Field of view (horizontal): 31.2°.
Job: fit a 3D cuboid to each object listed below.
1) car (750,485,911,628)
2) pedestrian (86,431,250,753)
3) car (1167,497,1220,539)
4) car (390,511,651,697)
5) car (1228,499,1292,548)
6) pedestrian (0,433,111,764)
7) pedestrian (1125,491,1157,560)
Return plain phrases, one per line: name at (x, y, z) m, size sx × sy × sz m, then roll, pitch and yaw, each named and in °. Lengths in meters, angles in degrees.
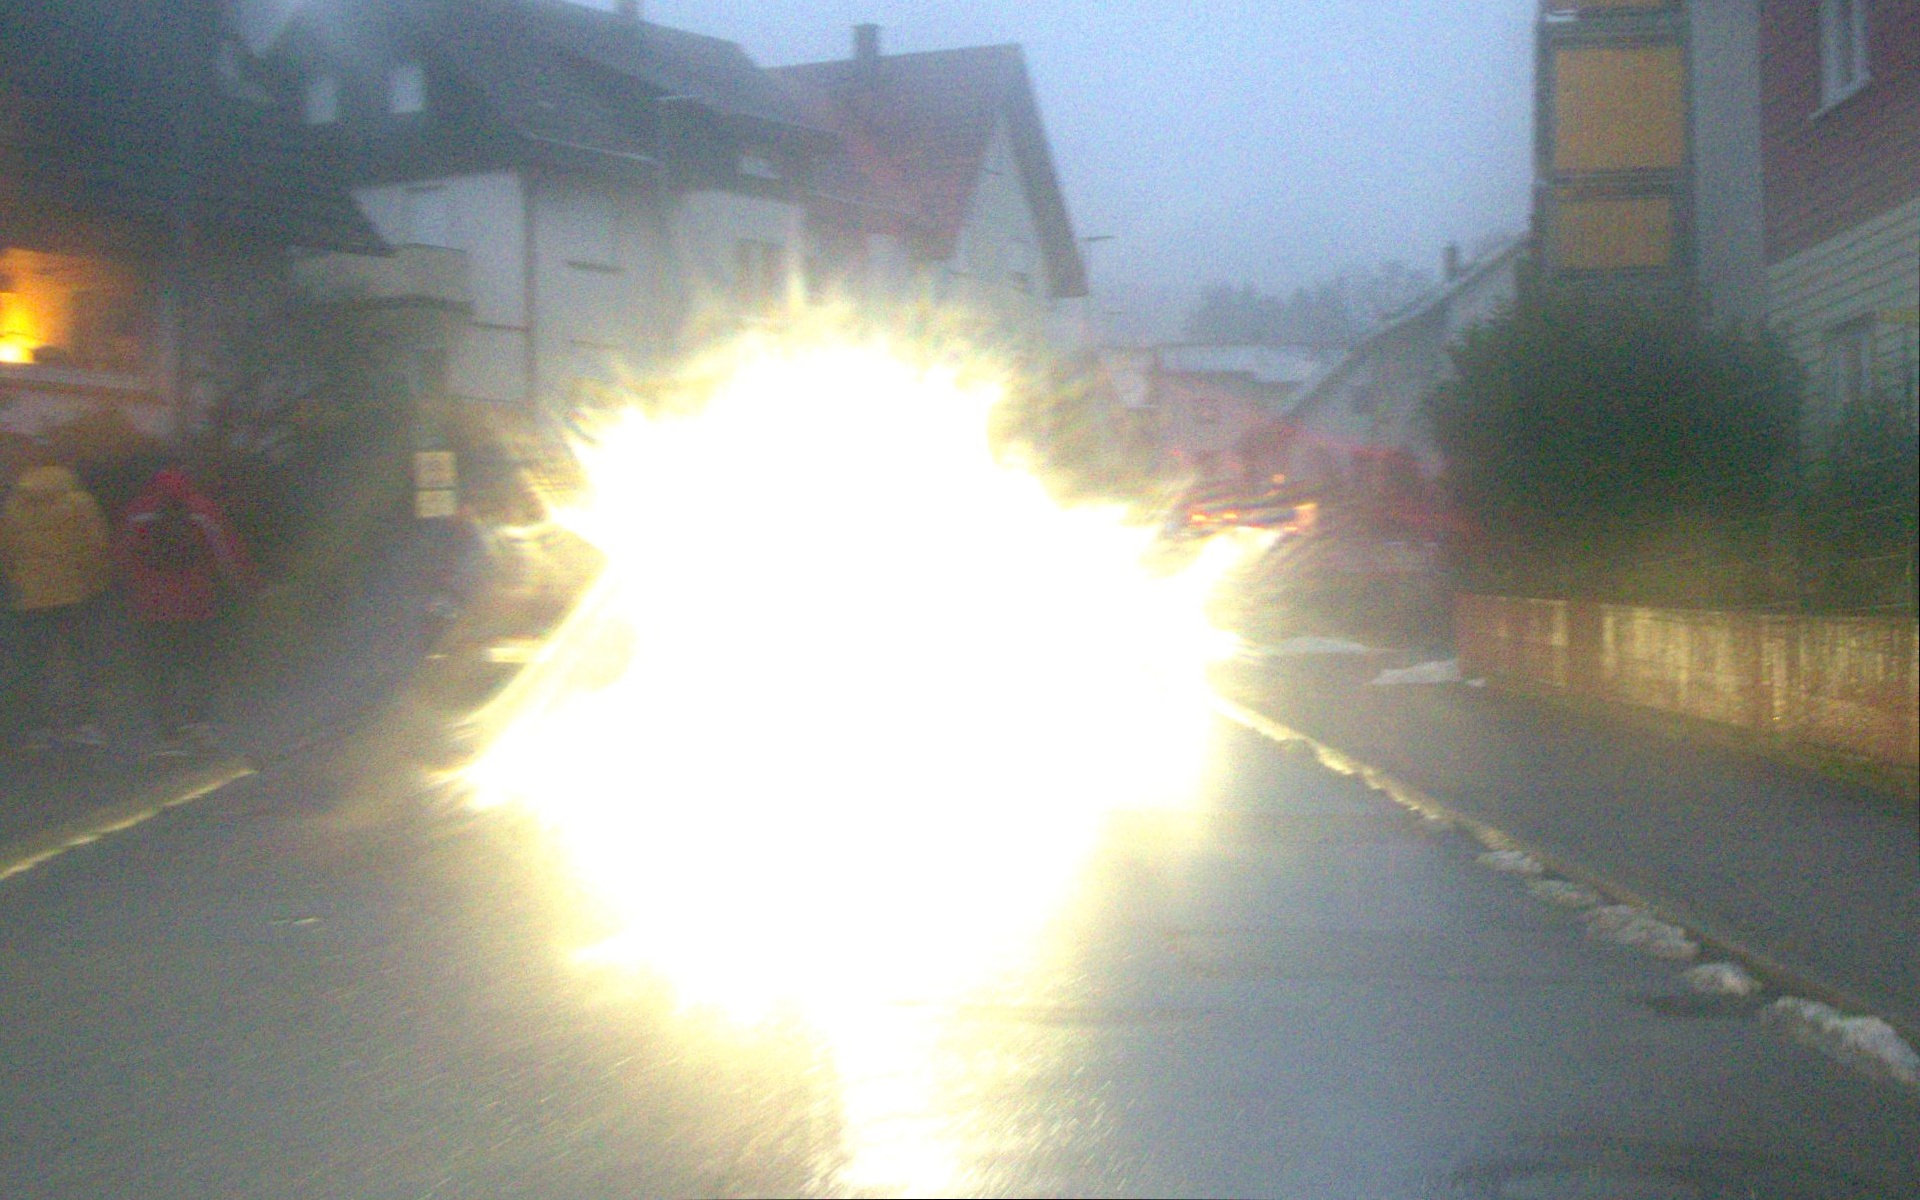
car at (-1.476, -0.506, 40.427) m, size 1.758 × 1.575 × 4.000 m, roll 1°, pitch 0°, yaw -1°
pedestrian at (-4.503, -0.046, 19.586) m, size 0.706 × 1.773 × 0.812 m, roll 2°, pitch 0°, yaw -2°
car at (9.582, -3.343, 141.075) m, size 1.993 × 1.612 × 4.000 m, roll 2°, pitch 0°, yaw 2°
car at (-3.630, -0.023, 29.000) m, size 1.823 × 1.435 × 4.068 m, roll 1°, pitch 2°, yaw -2°
car at (10.734, -2.711, 122.937) m, size 1.994 × 1.612 × 3.999 m, roll 2°, pitch 0°, yaw 8°
pedestrian at (-5.283, -0.013, 19.820) m, size 0.598 × 1.863 × 0.812 m, roll 1°, pitch 0°, yaw -3°
pedestrian at (4.567, -1.875, 86.758) m, size 0.598 × 1.727 × 0.811 m, roll 1°, pitch 0°, yaw 18°
